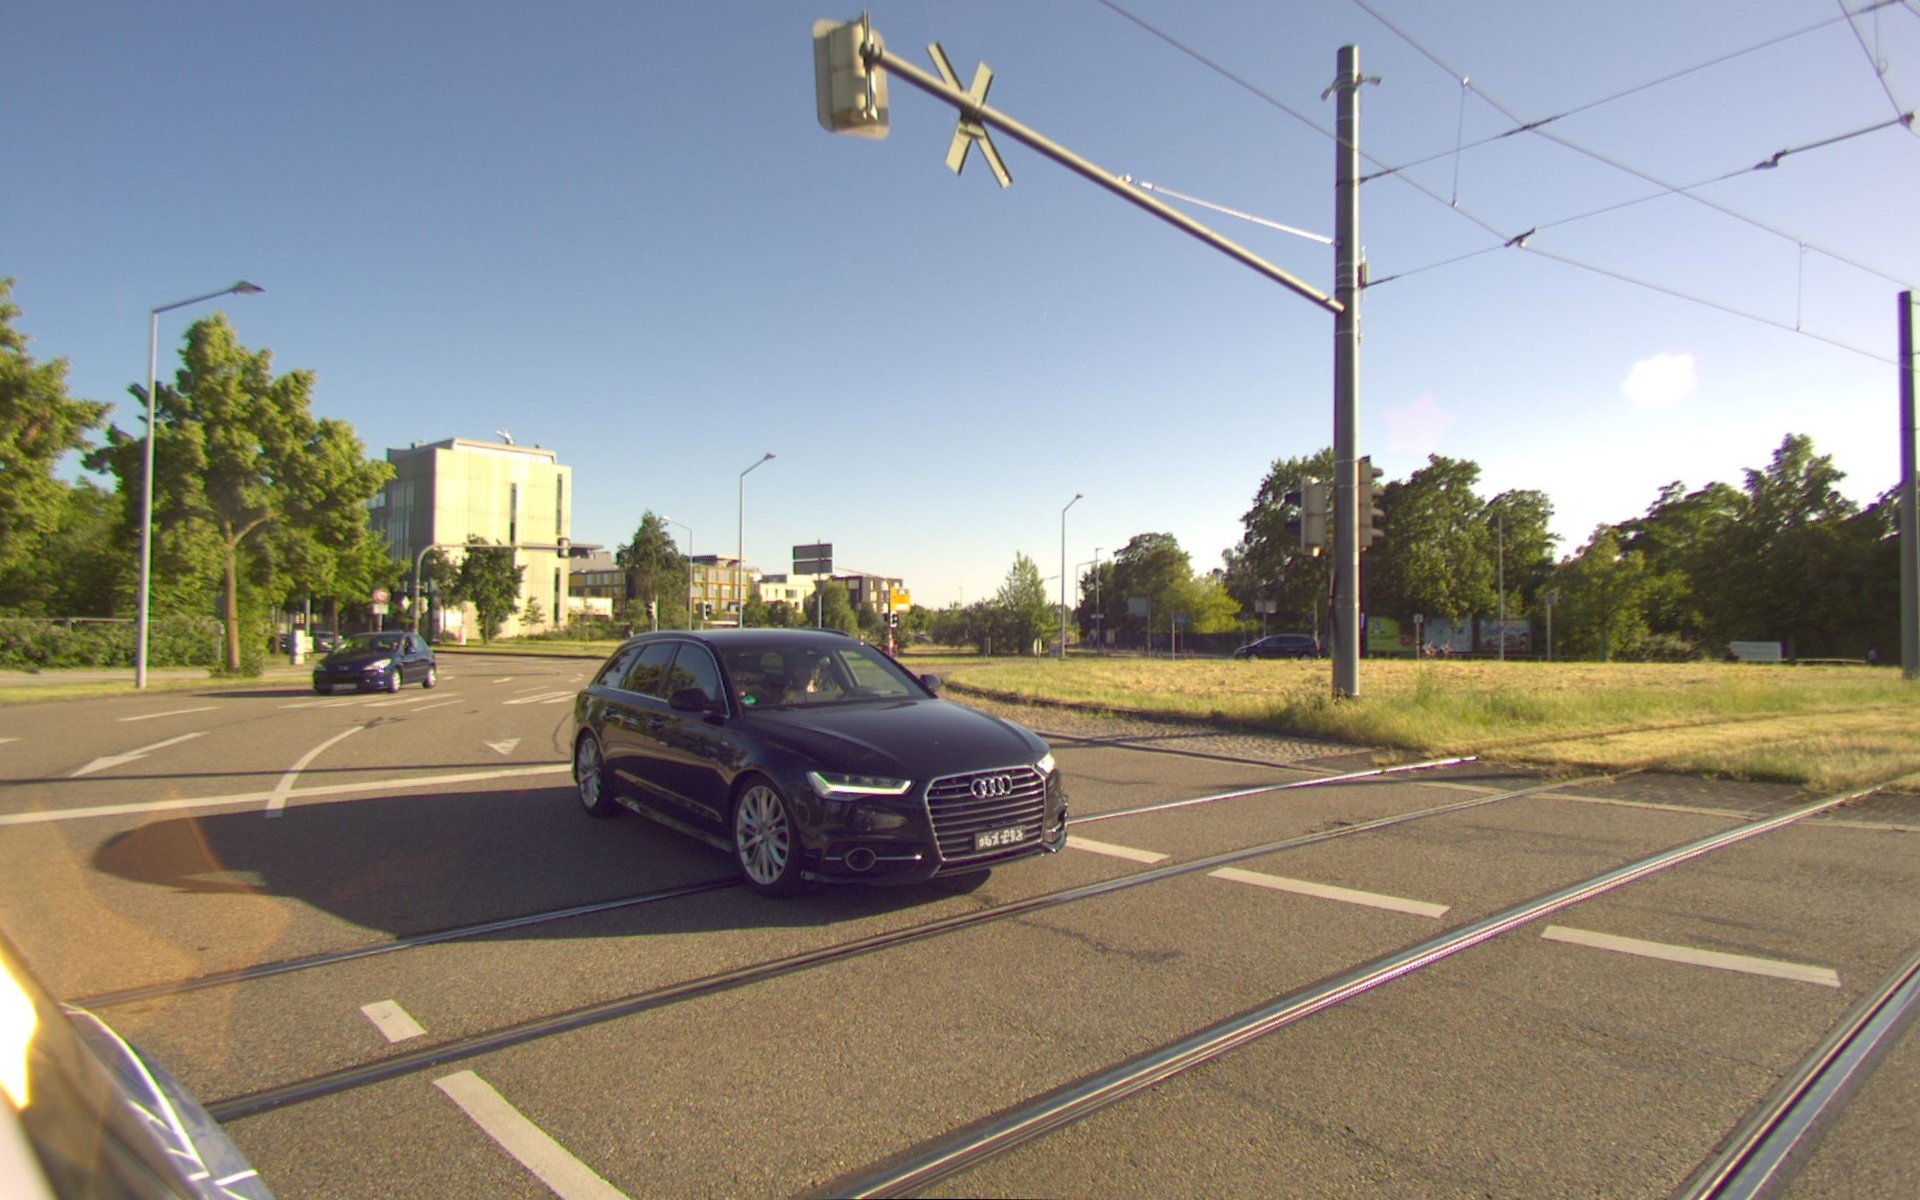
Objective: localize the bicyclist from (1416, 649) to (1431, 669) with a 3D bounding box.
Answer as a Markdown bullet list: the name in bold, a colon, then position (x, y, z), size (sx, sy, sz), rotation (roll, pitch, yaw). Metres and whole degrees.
- **bicyclist**: position (32.172, 4.104, 70.219), size (0.830, 1.403, 0.614), rotation (-1, -3, 16)

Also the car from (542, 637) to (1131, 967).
- **car**: position (-1.284, 1.021, 7.046), size (1.769, 1.454, 5.027), rotation (2, -4, -37)

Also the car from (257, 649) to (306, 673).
- **car**: position (-46.155, 4.118, 68.821), size (4.064, 1.390, 1.702), rotation (0, -1, 39)

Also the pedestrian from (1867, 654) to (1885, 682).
- **pedestrian**: position (54.093, 4.022, 59.769), size (0.761, 1.642, 0.873), rotation (-2, -4, 42)

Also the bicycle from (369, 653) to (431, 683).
- **bicycle**: position (-23.056, 2.797, 41.686), size (0.869, 1.164, 2.204), rotation (1, -3, 17)

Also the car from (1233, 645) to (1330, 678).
- **car**: position (18.342, 3.514, 58.006), size (4.961, 1.799, 2.453), rotation (0, -2, 11)

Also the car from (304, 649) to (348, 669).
- **car**: position (-46.116, 4.242, 73.565), size (1.908, 1.390, 4.541), rotation (2, -3, -43)

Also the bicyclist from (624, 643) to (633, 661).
- **bicyclist**: position (-30.170, 4.720, 91.978), size (0.426, 1.576, 0.852), rotation (3, -4, -45)

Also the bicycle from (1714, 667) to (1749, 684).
- **bicycle**: position (48.745, 4.777, 63.938), size (1.841, 1.019, 0.587), rotation (1, -2, -6)

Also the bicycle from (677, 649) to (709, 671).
- **bicycle**: position (-14.667, 3.276, 55.594), size (0.702, 1.137, 1.638), rotation (0, -2, 31)

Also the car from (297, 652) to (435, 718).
- **car**: position (-14.660, 2.048, 25.228), size (1.729, 1.465, 4.009), rotation (-1, -3, -11)

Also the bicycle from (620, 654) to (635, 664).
- **bicycle**: position (-30.213, 5.387, 92.000), size (0.484, 0.859, 1.890), rotation (3, -4, -45)

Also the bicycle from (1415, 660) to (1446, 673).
- **bicycle**: position (32.152, 4.548, 69.187), size (1.872, 0.859, 0.614), rotation (-1, -3, 16)

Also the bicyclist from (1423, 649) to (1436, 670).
- **bicyclist**: position (32.115, 4.087, 69.222), size (0.712, 1.403, 0.614), rotation (-1, -3, 16)

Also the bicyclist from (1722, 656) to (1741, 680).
- **bicyclist**: position (48.758, 4.321, 63.945), size (0.744, 1.479, 0.587), rotation (1, -2, -7)

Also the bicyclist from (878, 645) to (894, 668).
- **bicyclist**: position (-4.913, 3.727, 67.252), size (0.911, 1.529, 0.618), rotation (3, -4, -43)

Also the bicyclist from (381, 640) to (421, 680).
- **bicyclist**: position (-23.046, 2.466, 41.727), size (0.869, 1.574, 1.081), rotation (1, -3, 18)

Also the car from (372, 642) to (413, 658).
- **car**: position (-55.015, 4.812, 98.107), size (4.319, 1.553, 1.983), rotation (-2, -3, 39)

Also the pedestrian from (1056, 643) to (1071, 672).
- **pedestrian**: position (7.292, 4.042, 71.233), size (0.929, 2.021, 0.589), rotation (0, -3, -7)

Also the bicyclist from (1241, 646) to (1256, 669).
- **bicyclist**: position (20.872, 4.145, 73.147), size (0.822, 1.592, 0.663), rotation (0, -3, -4)

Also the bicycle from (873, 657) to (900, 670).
- **bicycle**: position (-4.879, 4.196, 67.268), size (1.860, 0.859, 0.618), rotation (3, -4, -43)

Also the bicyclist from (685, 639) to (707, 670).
- **bicyclist**: position (-14.572, 3.010, 55.778), size (0.702, 1.676, 0.933), rotation (0, -2, 31)

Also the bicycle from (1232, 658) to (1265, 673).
- **bicycle**: position (20.852, 4.736, 73.145), size (2.228, 0.995, 0.663), rotation (0, -3, -4)

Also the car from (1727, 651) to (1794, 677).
- **car**: position (59.706, 4.758, 75.525), size (3.744, 1.819, 1.812), rotation (-2, -4, 44)
